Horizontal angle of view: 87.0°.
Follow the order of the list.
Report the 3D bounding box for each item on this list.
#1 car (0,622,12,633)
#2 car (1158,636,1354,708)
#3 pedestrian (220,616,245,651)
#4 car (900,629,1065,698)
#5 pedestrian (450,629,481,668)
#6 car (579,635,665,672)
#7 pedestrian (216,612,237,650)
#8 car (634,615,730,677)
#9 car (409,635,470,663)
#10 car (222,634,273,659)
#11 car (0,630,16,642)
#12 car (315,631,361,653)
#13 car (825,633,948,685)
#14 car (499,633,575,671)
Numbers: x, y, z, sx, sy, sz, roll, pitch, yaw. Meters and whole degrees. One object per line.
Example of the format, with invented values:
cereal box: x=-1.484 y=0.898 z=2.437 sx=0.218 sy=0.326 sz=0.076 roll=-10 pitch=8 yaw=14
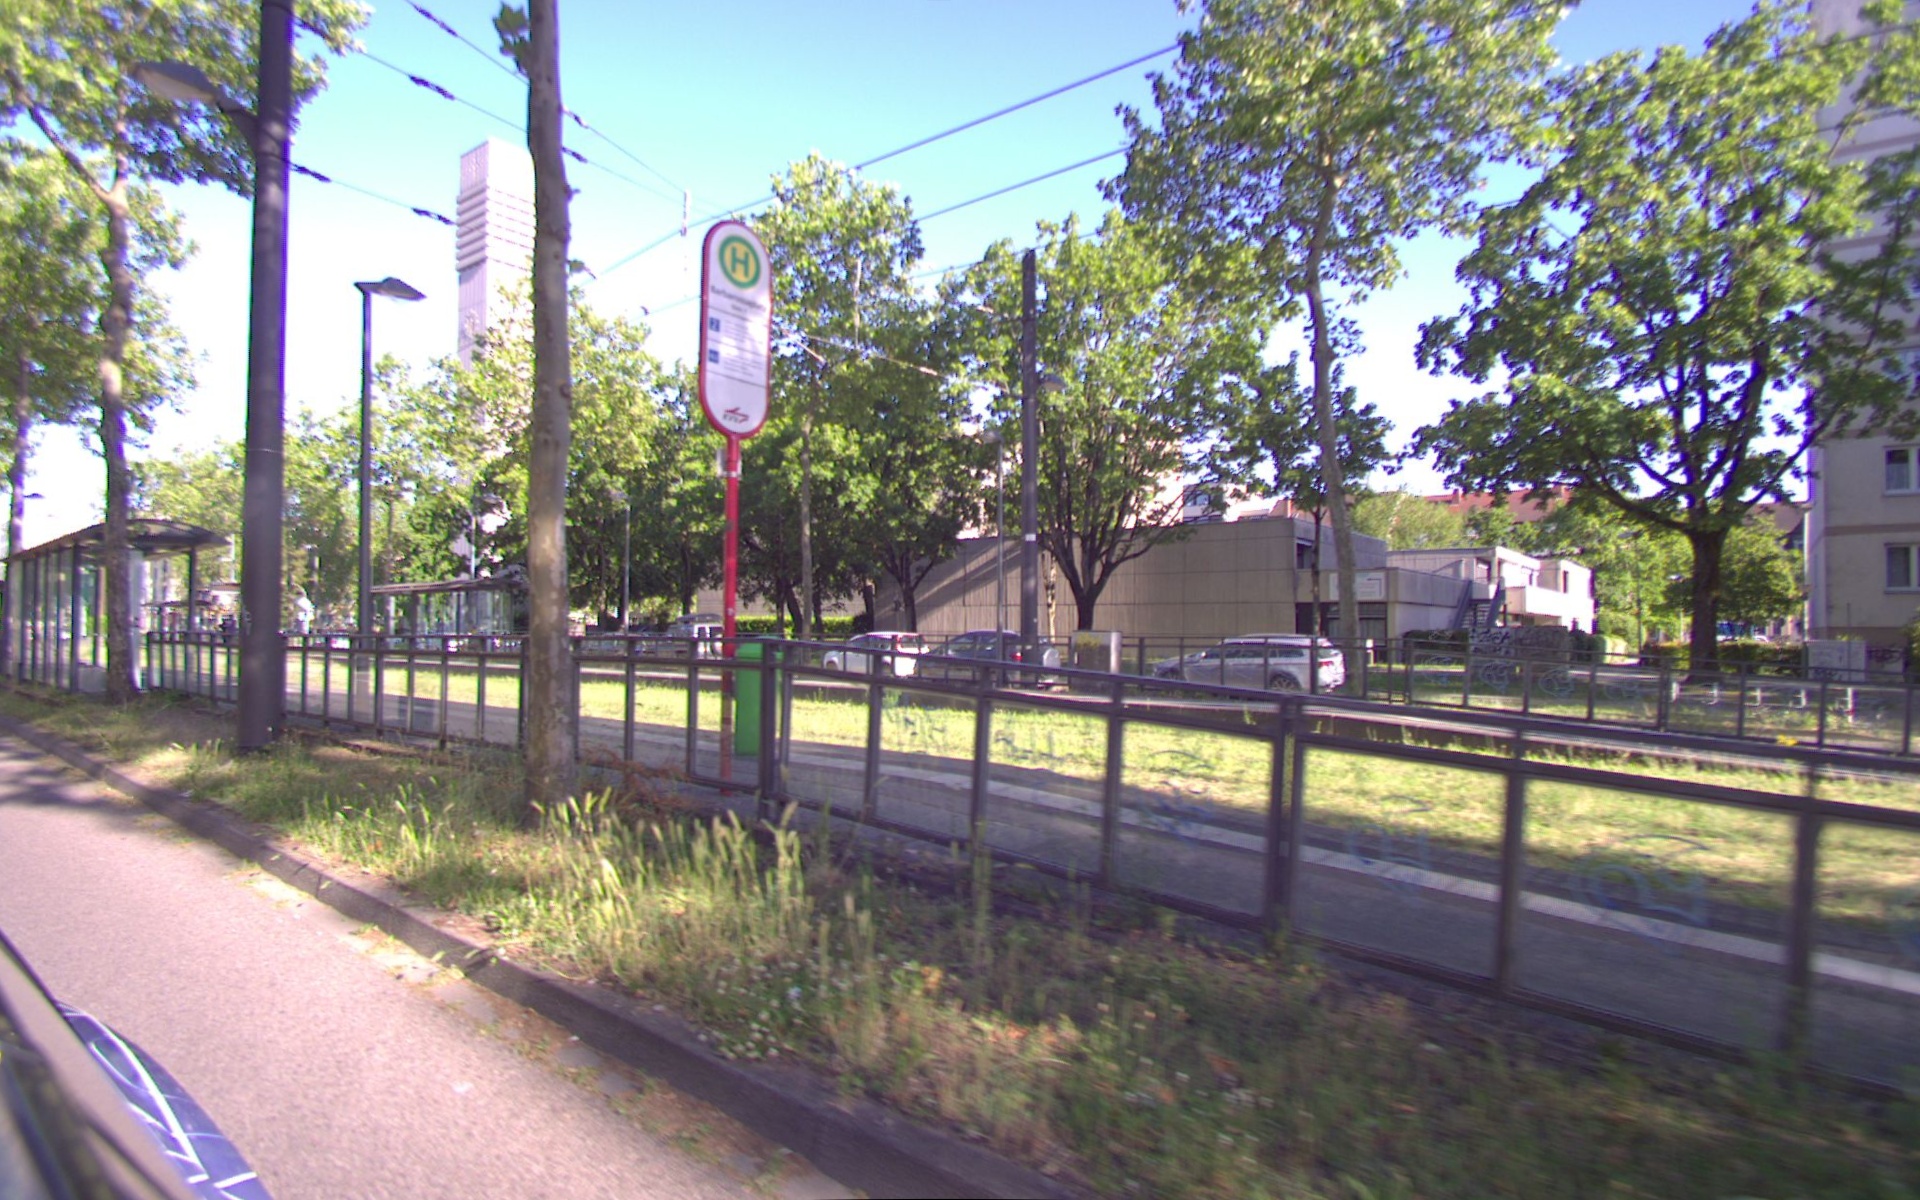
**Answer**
car: x=-153.771 y=4.406 z=162.261 sx=5.400 sy=1.720 sz=2.117 roll=-2 pitch=-2 yaw=41
car: x=6.979 y=1.649 z=24.138 sx=4.199 sy=1.557 sz=1.695 roll=-2 pitch=-3 yaw=42
pedestrian: x=-36.174 y=1.662 z=50.320 sx=0.754 sy=1.702 sz=0.874 roll=-2 pitch=-2 yaw=42
car: x=0.496 y=1.511 z=24.899 sx=3.933 sy=1.557 sz=1.695 roll=-2 pitch=-3 yaw=43
pedestrian: x=-16.222 y=1.581 z=33.199 sx=0.825 sy=1.270 sz=0.802 roll=0 pitch=-1 yaw=-20
car: x=-14.173 y=2.219 z=42.328 sx=4.017 sy=1.500 sz=1.577 roll=-2 pitch=-3 yaw=41
pedestrian: x=-36.798 y=1.556 z=50.753 sx=0.636 sy=1.881 sz=0.712 roll=-2 pitch=-2 yaw=42
car: x=-10.774 y=1.771 z=39.120 sx=3.930 sy=2.279 sz=1.696 roll=-2 pitch=-3 yaw=41
car: x=-27.783 y=2.587 z=53.952 sx=3.929 sy=1.455 sz=1.577 roll=-2 pitch=-3 yaw=42
car: x=-42.337 y=2.738 z=60.132 sx=3.533 sy=1.438 sz=1.589 roll=-2 pitch=-3 yaw=39
car: x=-149.261 y=5.610 z=158.112 sx=5.400 sy=1.720 sz=2.117 roll=-2 pitch=-2 yaw=41
car: x=-36.095 y=2.427 z=58.734 sx=3.373 sy=1.251 sz=1.250 roll=-2 pitch=-3 yaw=40
car: x=-2.359 y=1.828 z=31.953 sx=3.934 sy=1.557 sz=1.695 roll=-2 pitch=-3 yaw=44
car: x=-19.304 y=2.340 z=46.144 sx=3.928 sy=1.648 sz=1.577 roll=-2 pitch=-3 yaw=41
